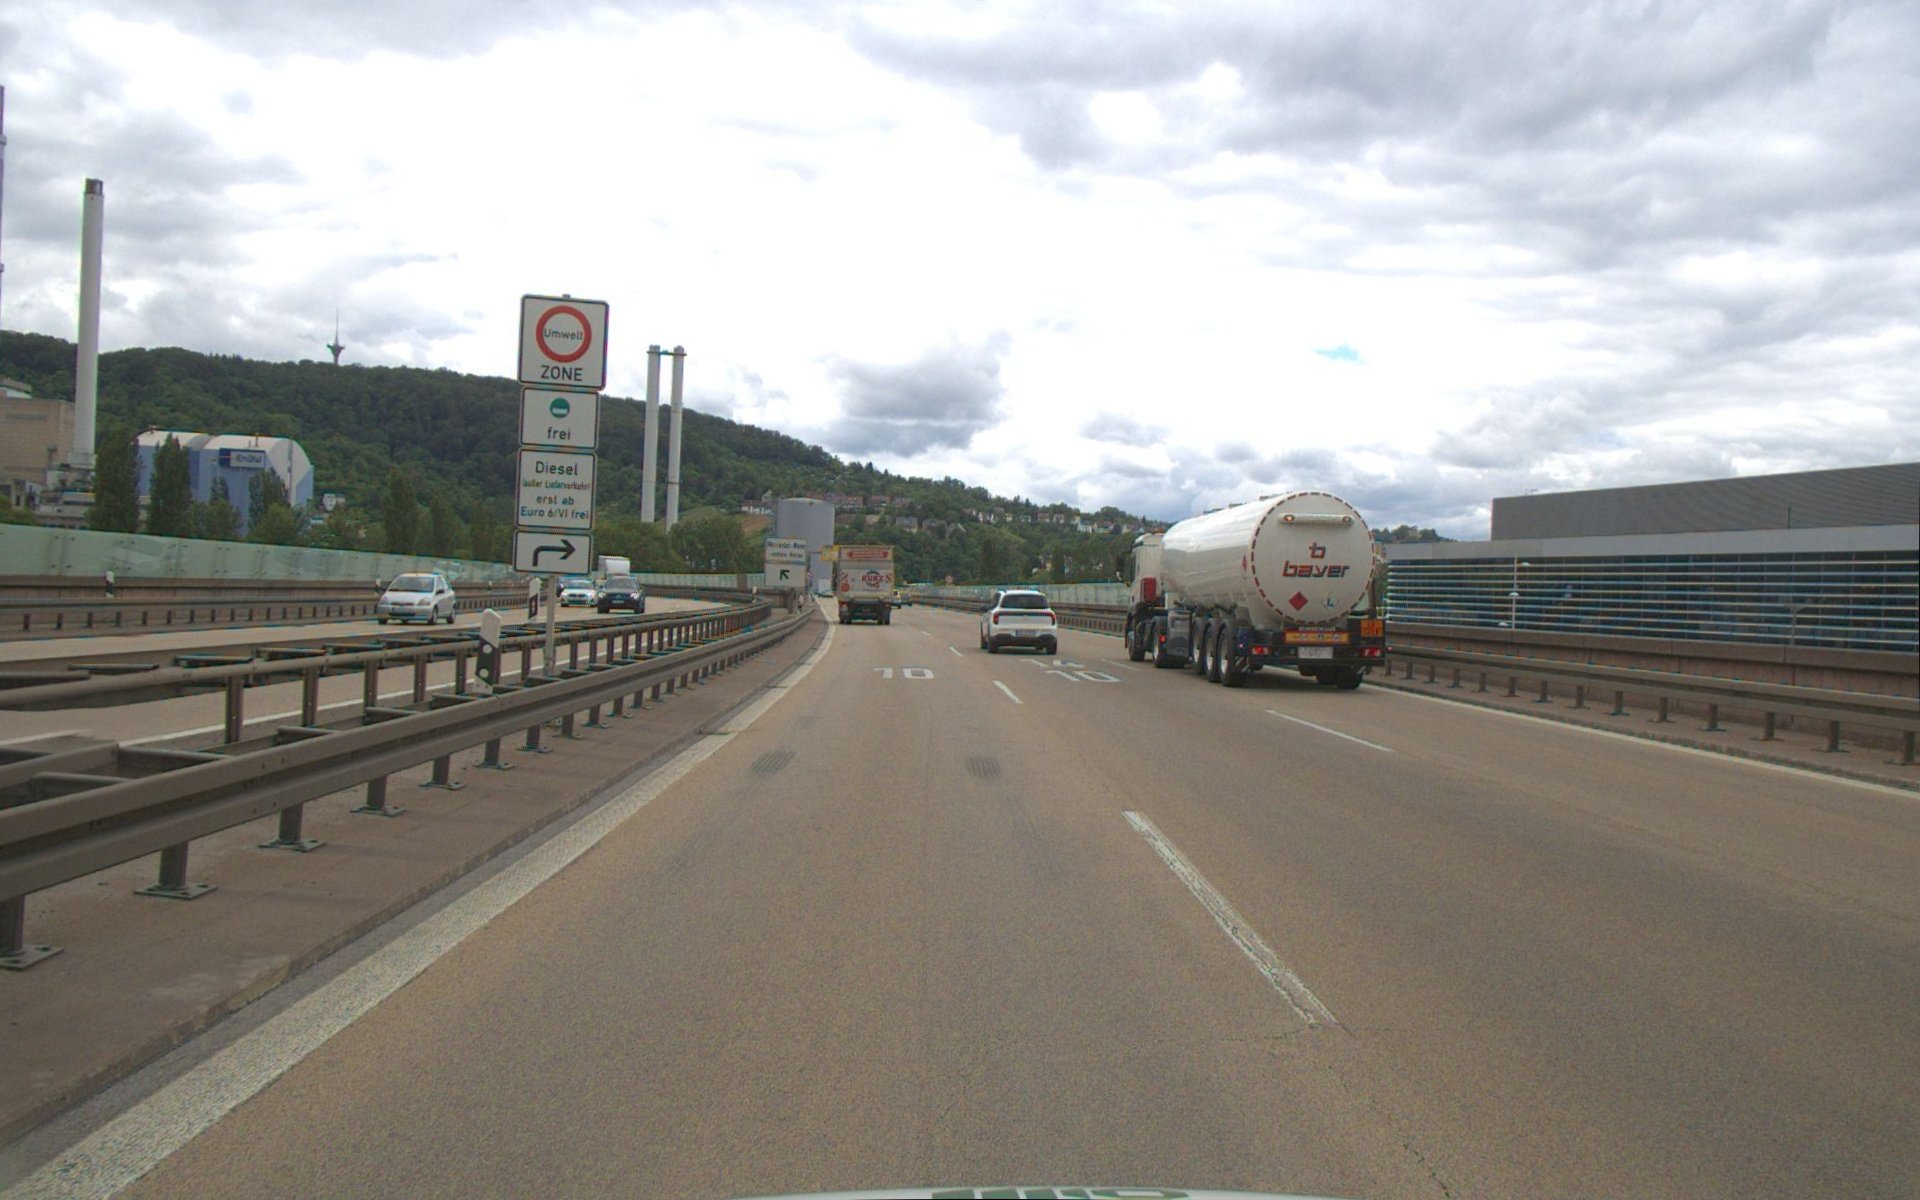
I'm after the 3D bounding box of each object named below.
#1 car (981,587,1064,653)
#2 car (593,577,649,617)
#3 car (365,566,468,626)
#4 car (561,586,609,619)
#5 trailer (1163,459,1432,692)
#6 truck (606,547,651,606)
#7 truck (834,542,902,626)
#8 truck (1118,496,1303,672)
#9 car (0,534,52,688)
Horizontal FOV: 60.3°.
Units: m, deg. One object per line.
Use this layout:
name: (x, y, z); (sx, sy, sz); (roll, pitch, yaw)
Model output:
car: (1.647, 0.542, 45.303); (1.953, 1.704, 4.406); (1, -1, -2)
car: (-15.226, -0.111, 74.447); (1.955, 1.704, 4.403); (1, -1, -5)
car: (-16.498, -0.109, 50.422); (1.954, 1.704, 4.403); (1, -1, -5)
car: (-20.443, 0.146, 90.368); (1.955, 1.704, 4.403); (1, -1, -5)
trailer: (6.193, -0.375, 31.950); (2.996, 3.856, 8.297); (1, 0, -3)
truck: (-27.296, -1.836, 136.436); (2.999, 4.642, 8.290); (1, 0, -7)
truck: (-4.402, -0.688, 78.712); (2.996, 3.755, 8.297); (1, 0, -4)
truck: (5.710, -0.314, 38.813); (2.955, 3.721, 6.268); (1, -1, -4)
car: (-11.553, 0.097, 17.278); (1.954, 1.704, 4.403); (1, -1, -5)
